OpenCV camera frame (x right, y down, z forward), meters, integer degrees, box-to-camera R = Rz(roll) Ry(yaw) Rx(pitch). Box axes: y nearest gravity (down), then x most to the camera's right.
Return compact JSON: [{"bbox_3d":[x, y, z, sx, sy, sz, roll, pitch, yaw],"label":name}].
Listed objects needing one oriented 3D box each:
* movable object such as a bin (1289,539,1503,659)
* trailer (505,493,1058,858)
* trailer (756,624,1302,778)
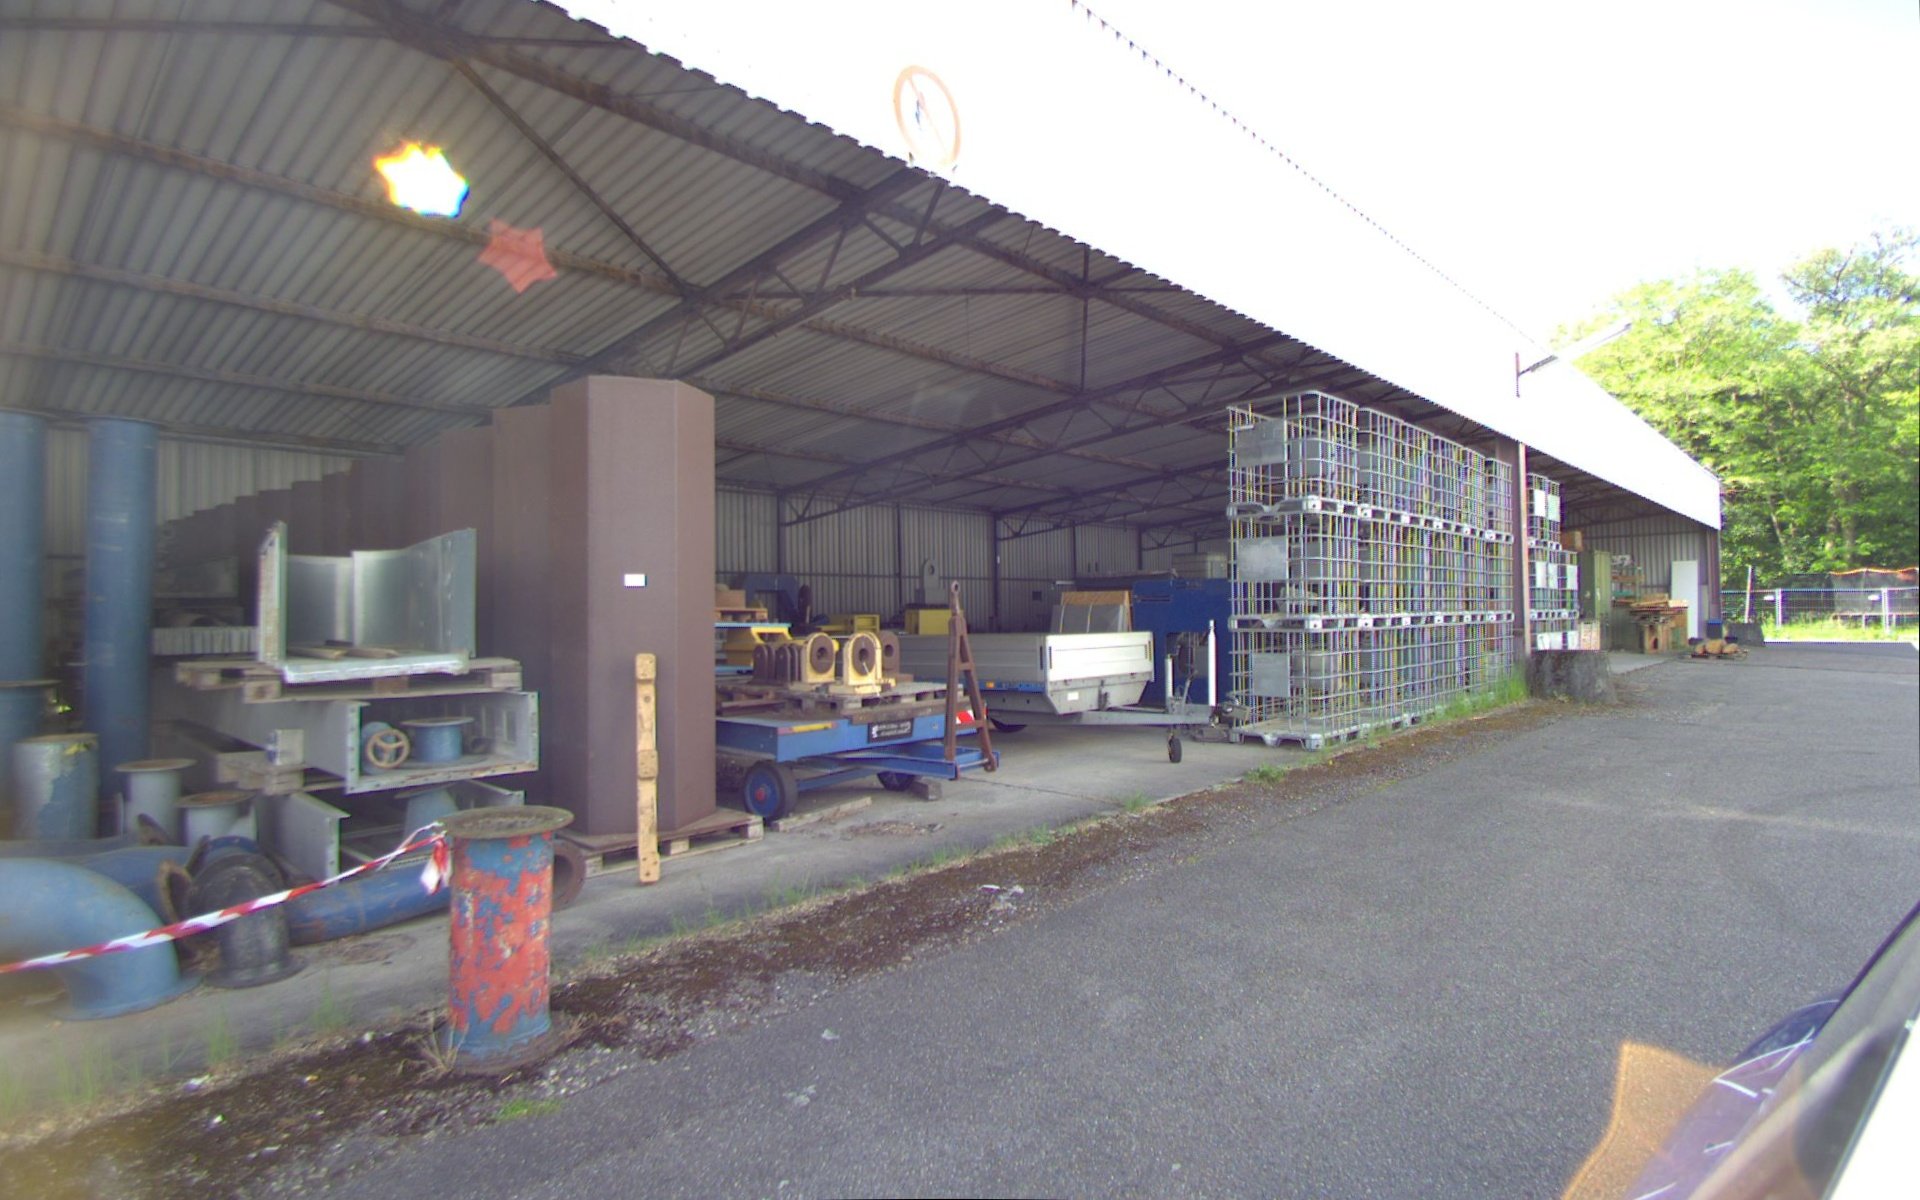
[{"bbox_3d":[10.906,-0.005,25.503,4.611,2.757,1.970,0,-1,42],"label":"movable object such as a bin"},{"bbox_3d":[-1.705,0.408,8.058,2.013,2.022,4.821,0,0,-44],"label":"trailer"},{"bbox_3d":[0.397,0.855,10.583,5.729,1.147,1.978,-1,-1,42],"label":"trailer"}]
